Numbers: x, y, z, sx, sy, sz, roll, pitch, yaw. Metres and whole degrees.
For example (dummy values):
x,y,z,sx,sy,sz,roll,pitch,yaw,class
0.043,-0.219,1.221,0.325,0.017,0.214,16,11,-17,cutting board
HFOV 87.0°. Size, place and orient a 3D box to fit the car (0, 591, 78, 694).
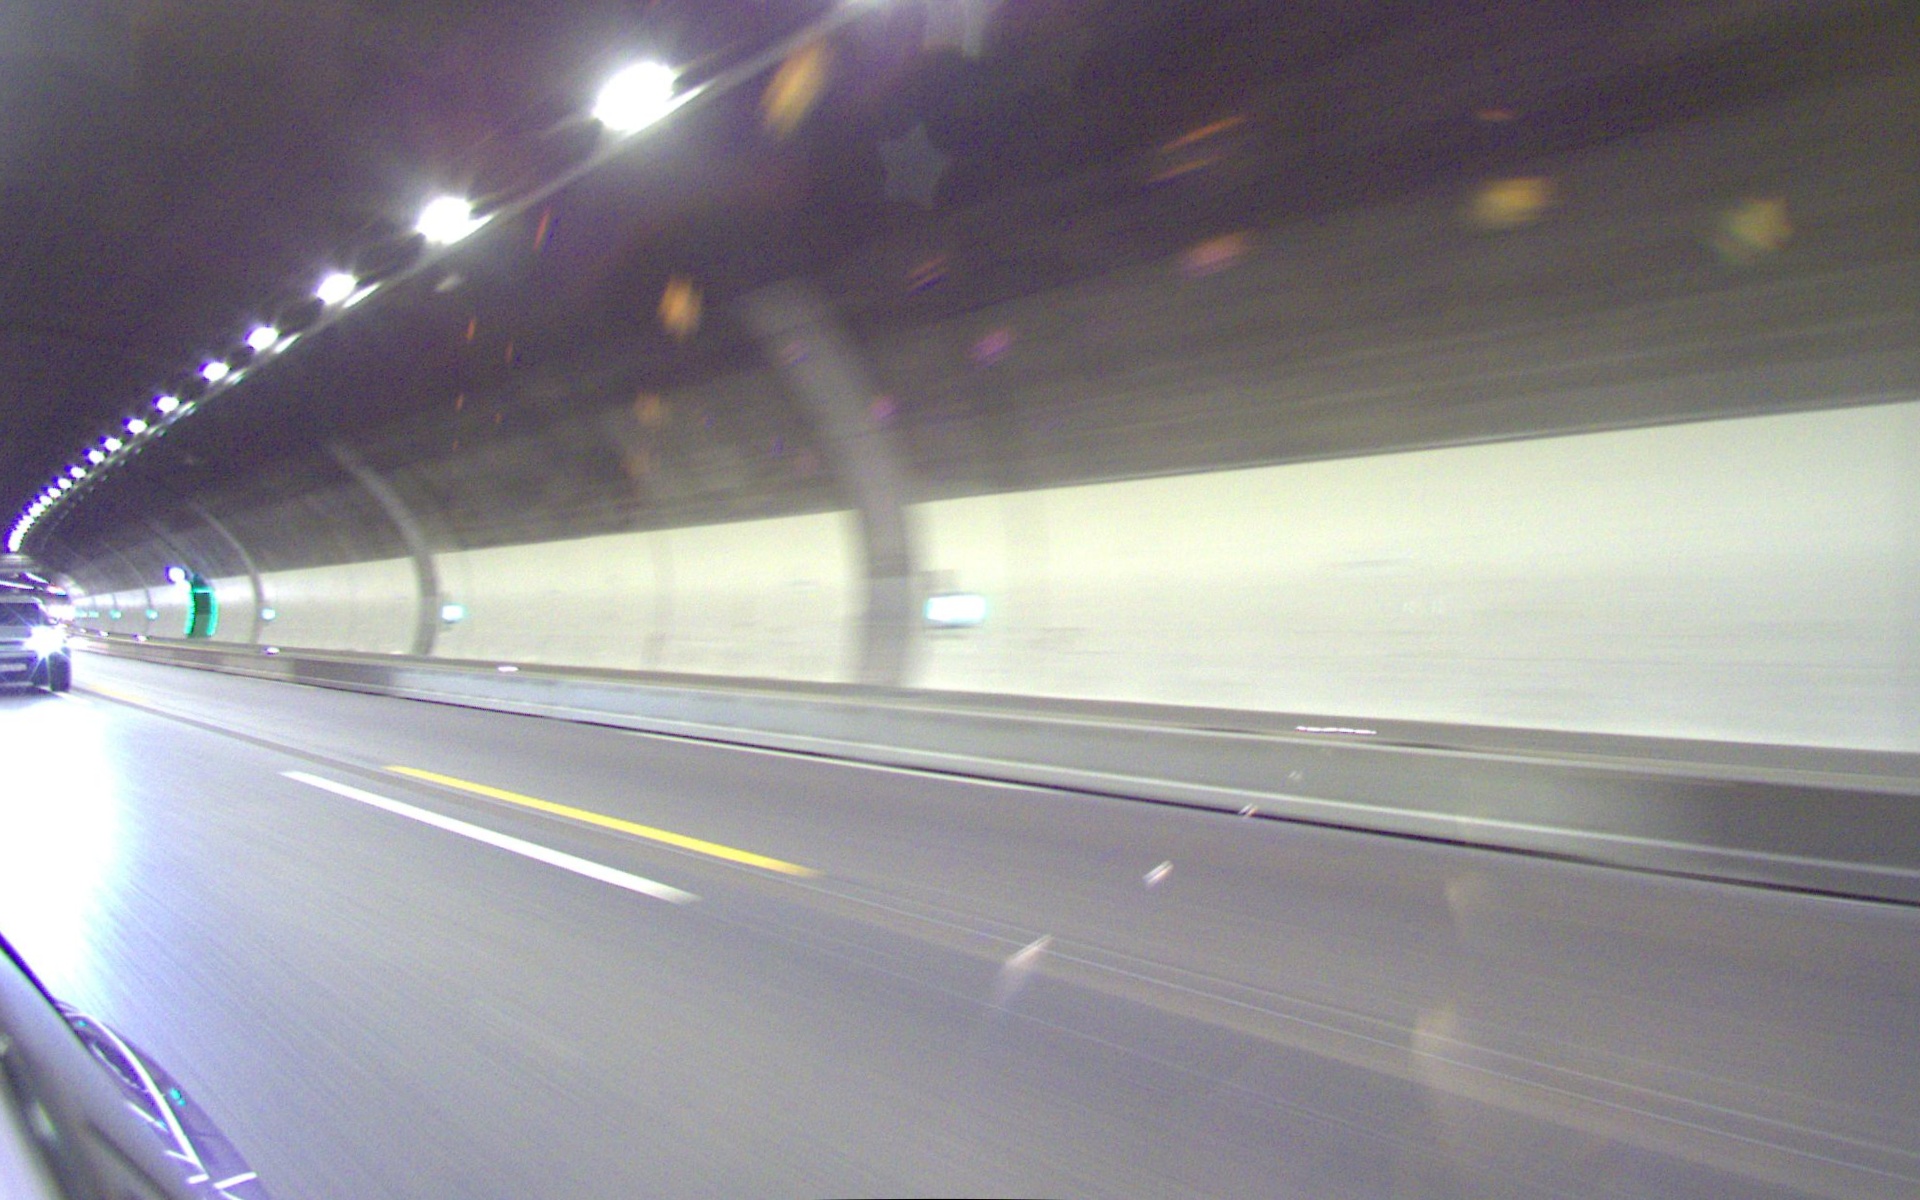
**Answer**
x,y,z,sx,sy,sz,roll,pitch,yaw,class
-19.747,0.827,20.597,5.450,1.909,1.973,-1,-1,41,car
